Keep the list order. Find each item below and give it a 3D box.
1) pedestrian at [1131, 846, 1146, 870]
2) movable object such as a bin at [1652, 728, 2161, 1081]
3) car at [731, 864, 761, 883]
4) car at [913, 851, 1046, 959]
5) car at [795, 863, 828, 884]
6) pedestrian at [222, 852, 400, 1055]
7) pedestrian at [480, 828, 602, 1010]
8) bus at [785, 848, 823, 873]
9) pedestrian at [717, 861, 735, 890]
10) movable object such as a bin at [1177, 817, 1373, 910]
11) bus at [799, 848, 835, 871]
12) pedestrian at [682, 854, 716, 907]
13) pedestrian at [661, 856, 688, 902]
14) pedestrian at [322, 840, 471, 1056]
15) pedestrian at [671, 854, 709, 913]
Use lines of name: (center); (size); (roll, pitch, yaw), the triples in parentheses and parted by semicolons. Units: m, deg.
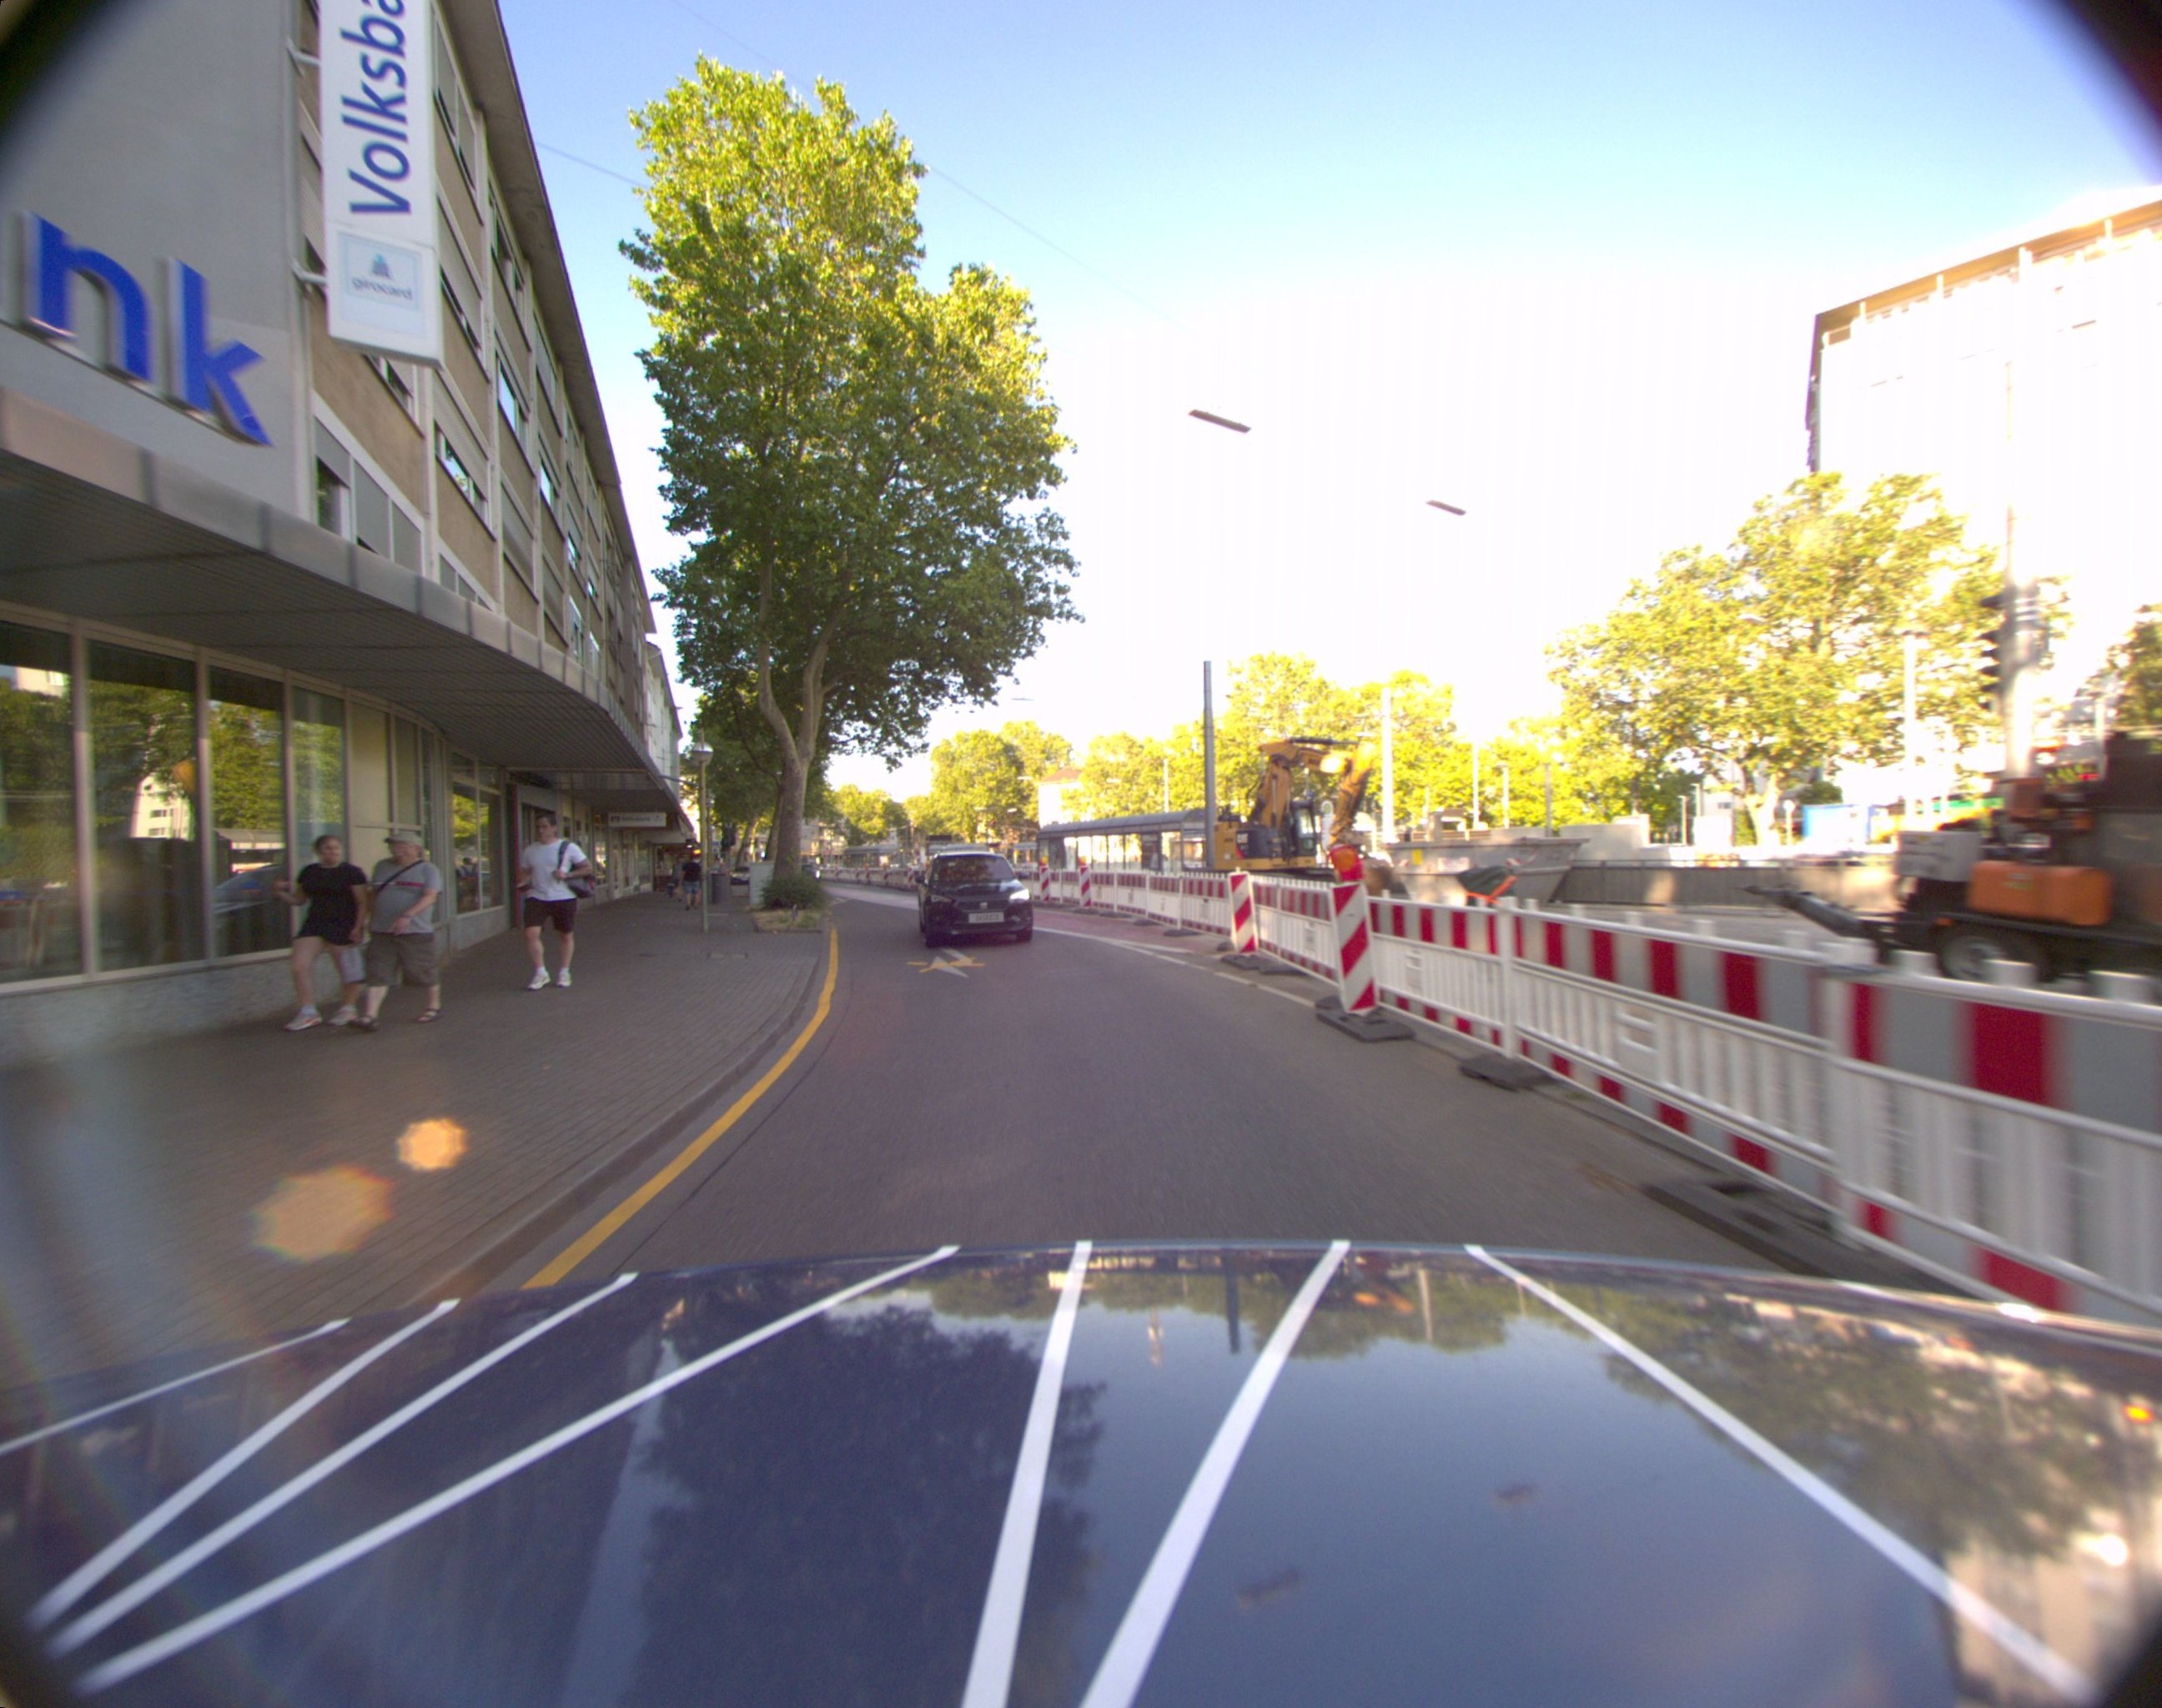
pedestrian: (4.808, 0.361, 63.851); (0.888, 2.002, 0.882); (-2, 0, -24)
movable object such as a bin: (7.881, 0.279, 6.529); (1.998, 2.243, 5.208); (-3, 0, 1)
car: (-28.740, 1.659, 65.042); (1.927, 1.588, 4.780); (0, -1, -29)
car: (-2.080, 0.819, 14.397); (2.001, 1.638, 4.199); (-3, 0, -14)
car: (-22.030, 1.620, 61.978); (2.002, 1.575, 4.610); (-3, 0, -25)
pedestrian: (-6.351, 0.788, 6.316); (0.635, 1.564, 0.774); (3, 0, -6)
pedestrian: (-5.952, 0.689, 8.448); (0.842, 1.858, 1.097); (3, -2, -26)
bus: (-38.796, 0.896, 106.763); (2.740, 3.188, 12.296); (-3, 0, -10)
pedestrian: (-20.357, 1.222, 43.568); (0.554, 1.663, 0.649); (-1, 1, 35)
movable object such as a bin: (5.362, 0.244, 21.679); (2.656, 2.304, 4.890); (-2, 0, -32)
bus: (-40.404, 0.893, 116.823); (2.740, 3.188, 12.353); (-3, 0, -8)
pedestrian: (-12.432, 0.855, 24.758); (0.903, 1.687, 1.068); (3, -1, -26)
pedestrian: (-14.989, 0.898, 28.055); (0.847, 1.663, 0.988); (0, 0, -26)
pedestrian: (-5.699, 0.757, 6.366); (0.584, 1.698, 0.679); (2, -1, -5)
pedestrian: (-11.651, 0.869, 22.665); (0.903, 1.700, 1.068); (3, -2, -26)
